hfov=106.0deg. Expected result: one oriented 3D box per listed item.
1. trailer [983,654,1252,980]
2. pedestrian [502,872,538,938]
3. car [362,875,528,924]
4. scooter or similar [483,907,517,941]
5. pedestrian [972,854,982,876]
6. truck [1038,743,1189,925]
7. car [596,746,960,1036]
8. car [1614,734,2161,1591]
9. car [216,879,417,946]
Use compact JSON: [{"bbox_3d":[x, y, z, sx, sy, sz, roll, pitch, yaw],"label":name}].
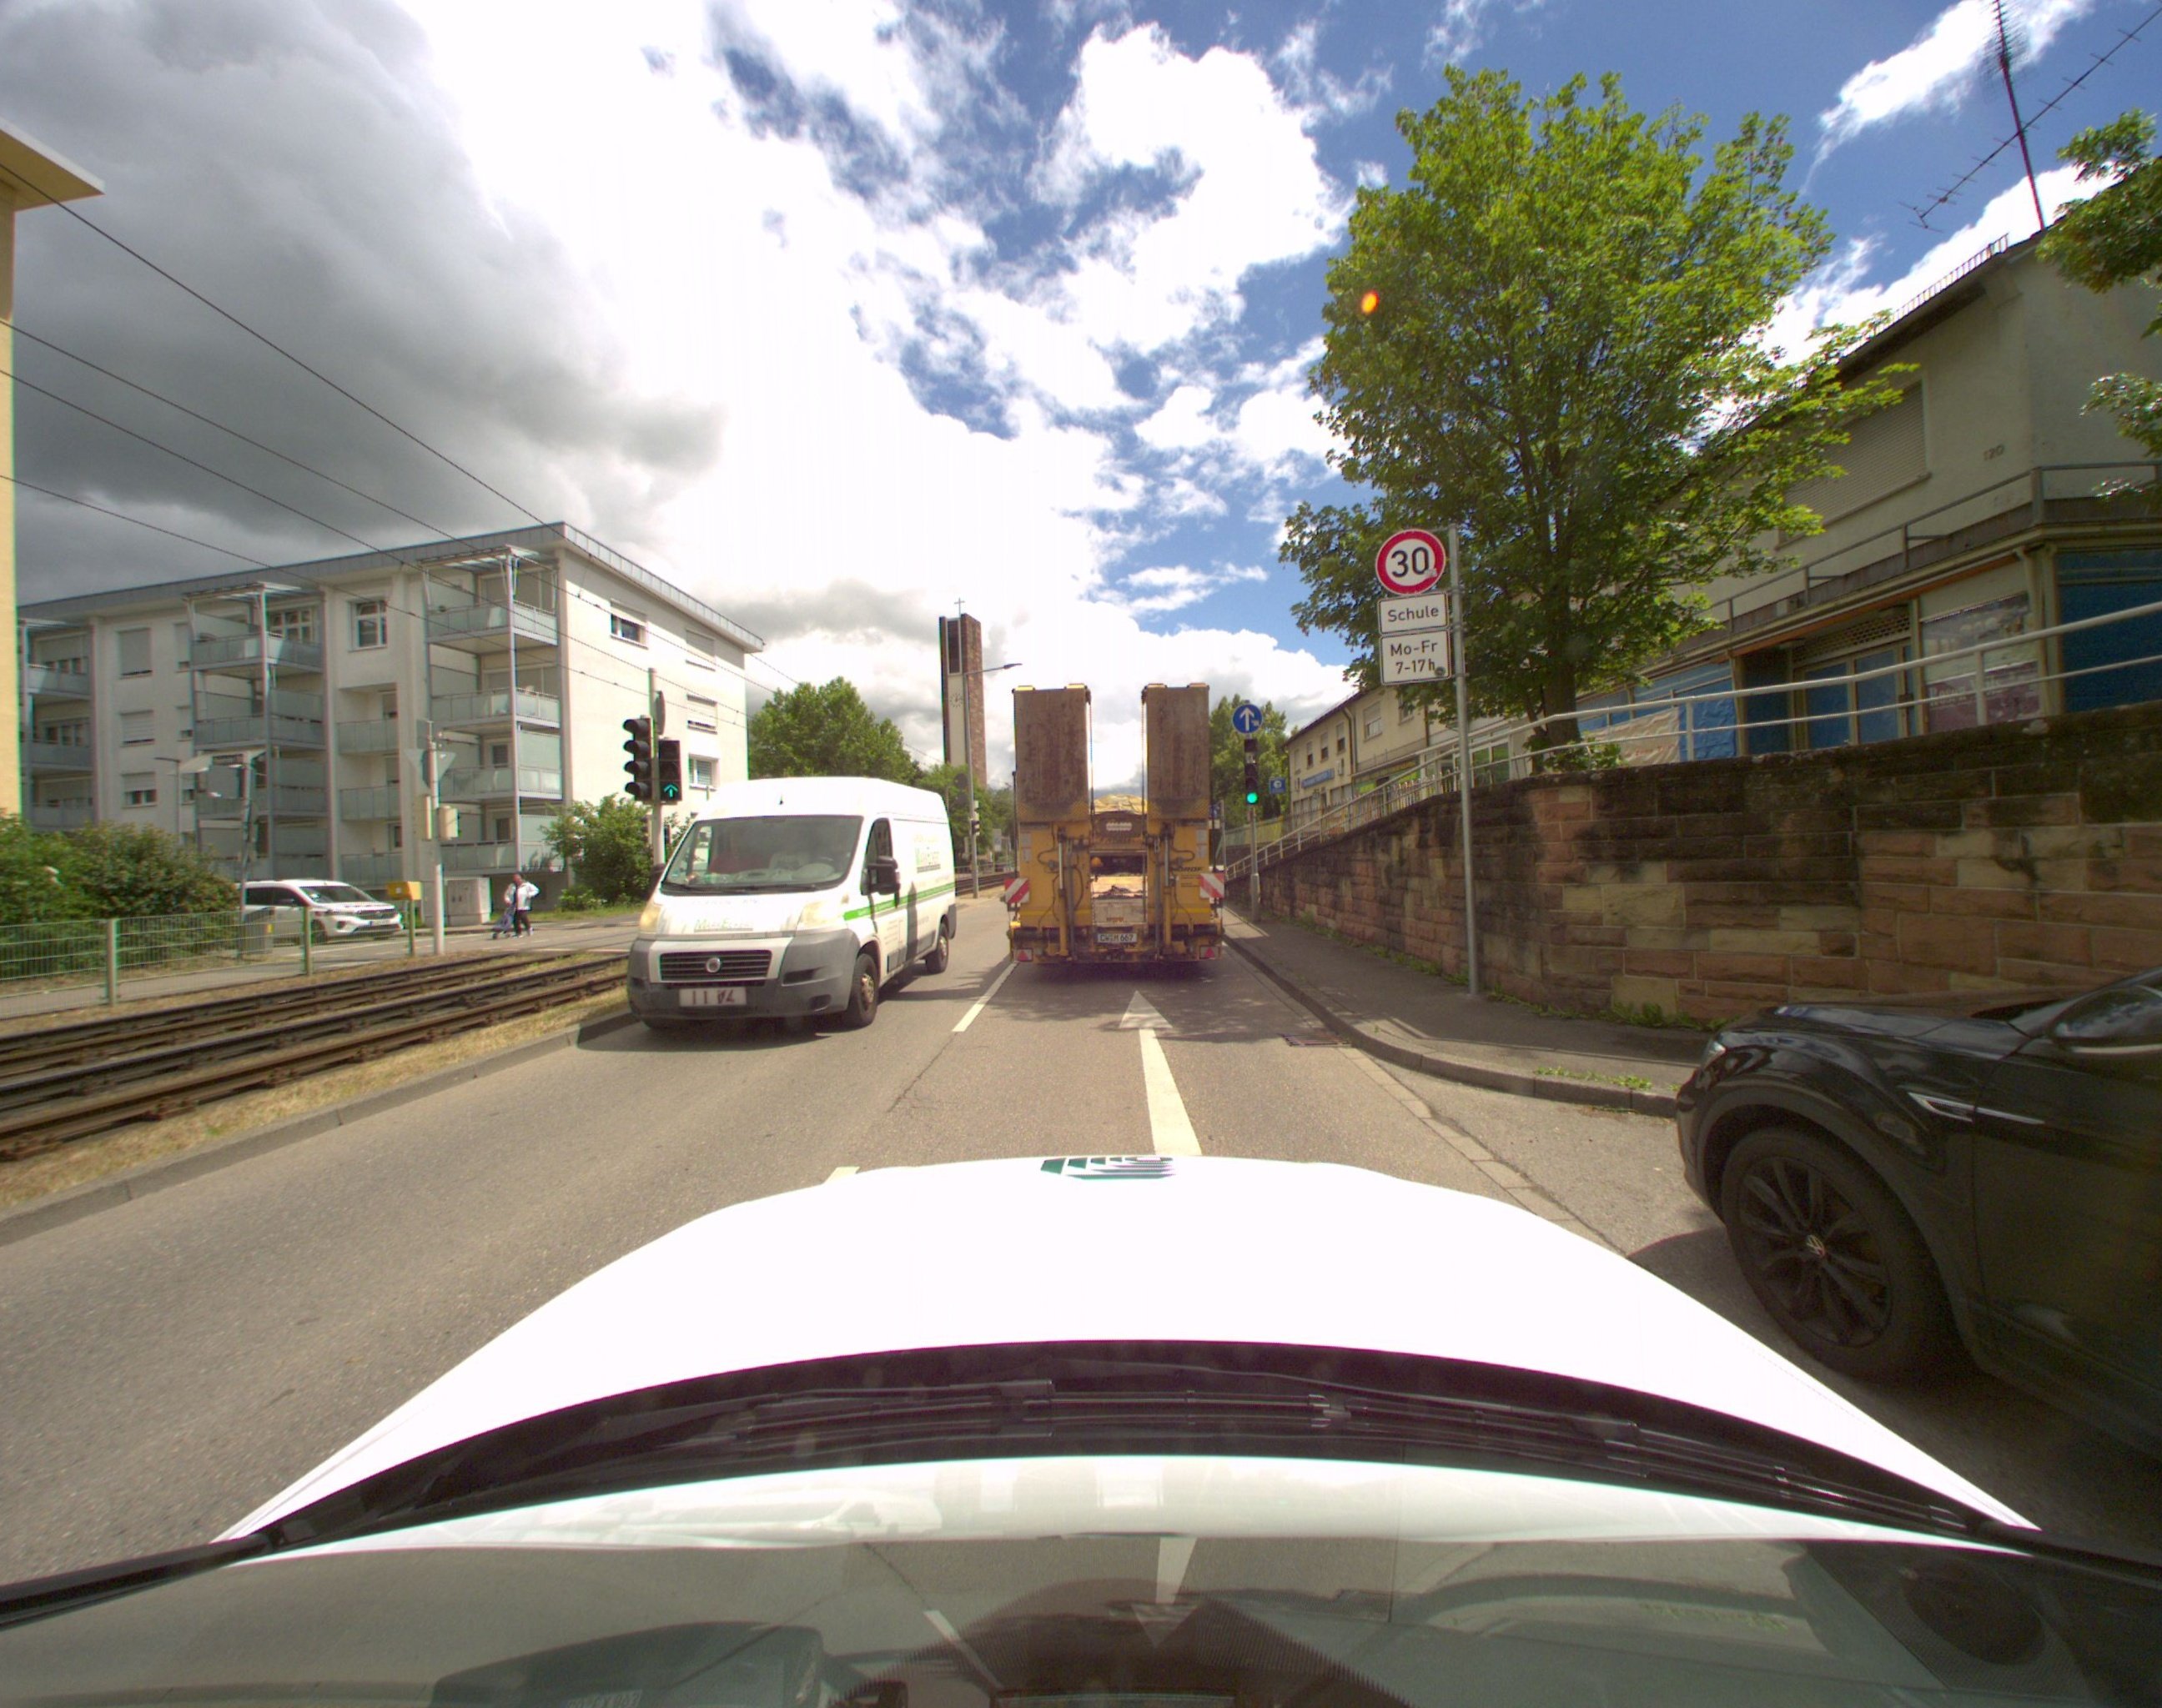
[{"bbox_3d":[0.553,-0.416,13.614,2.934,3.601,8.687,-2,0,2],"label":"trailer"},{"bbox_3d":[-13.785,1.250,20.020,0.435,1.581,0.475,-5,-2,6],"label":"pedestrian"},{"bbox_3d":[-20.207,1.439,25.973,3.964,1.346,1.906,-2,0,8],"label":"car"},{"bbox_3d":[-13.881,1.675,19.467,0.435,0.747,0.475,-2,0,6],"label":"scooter or similar"},{"bbox_3d":[-9.654,1.010,75.654,0.718,2.014,0.740,0,0,6],"label":"pedestrian"},{"bbox_3d":[0.730,-0.404,18.964,2.932,3.572,4.879,-2,0,2],"label":"truck"},{"bbox_3d":[-2.884,0.305,9.355,2.006,2.359,5.384,0,0,2],"label":"car"},{"bbox_3d":[2.935,0.543,1.087,1.844,1.639,4.002,-3,0,2],"label":"car"},{"bbox_3d":[-20.831,1.539,22.282,3.962,1.651,2.006,0,0,10],"label":"car"}]
